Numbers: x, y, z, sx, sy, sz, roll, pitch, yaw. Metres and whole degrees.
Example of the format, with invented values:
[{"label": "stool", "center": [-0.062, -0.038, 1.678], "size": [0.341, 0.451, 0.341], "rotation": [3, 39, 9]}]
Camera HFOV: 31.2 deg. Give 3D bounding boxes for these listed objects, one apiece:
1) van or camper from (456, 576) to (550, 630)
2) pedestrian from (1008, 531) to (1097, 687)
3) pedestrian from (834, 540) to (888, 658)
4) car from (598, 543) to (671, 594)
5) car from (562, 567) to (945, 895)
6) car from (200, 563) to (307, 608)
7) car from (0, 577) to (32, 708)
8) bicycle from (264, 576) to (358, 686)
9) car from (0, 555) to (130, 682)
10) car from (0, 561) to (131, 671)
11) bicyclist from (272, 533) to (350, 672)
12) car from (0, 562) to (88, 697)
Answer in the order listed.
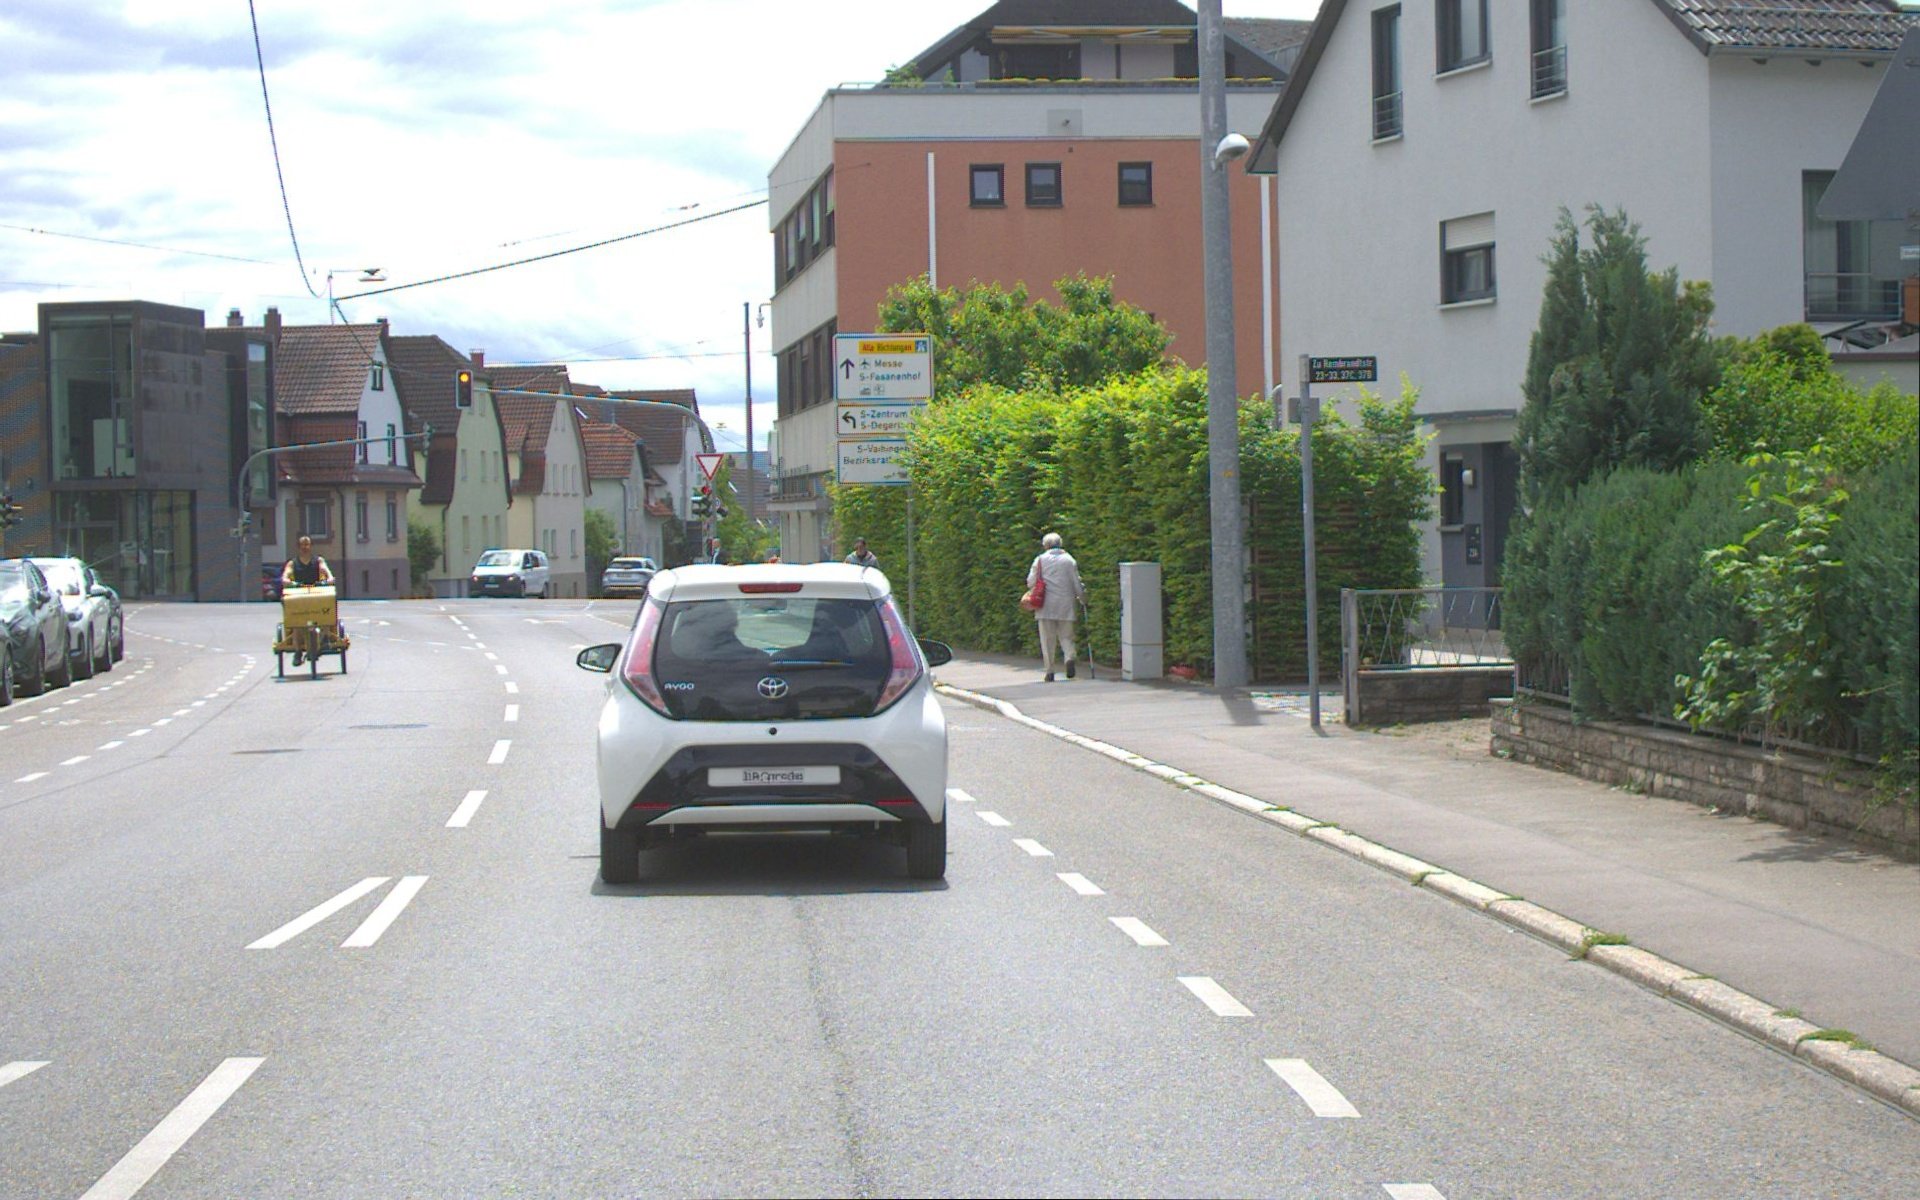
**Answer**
[{"label": "van or camper", "center": [-16.669, 0.097, 125.670], "size": [2.116, 1.919, 5.284], "rotation": [1, 0, 7]}, {"label": "pedestrian", "center": [0.977, 0.092, 36.464], "size": [0.798, 1.612, 0.653], "rotation": [-2, 1, -7]}, {"label": "pedestrian", "center": [-1.378, -0.021, 47.867], "size": [0.602, 1.600, 0.836], "rotation": [-3, 1, -7]}, {"label": "car", "center": [-12.333, -1.184, 130.409], "size": [1.994, 1.897, 3.999], "rotation": [1, 0, 6]}, {"label": "car", "center": [-1.027, 0.578, 17.060], "size": [1.697, 1.451, 3.299], "rotation": [1, 0, -4]}, {"label": "car", "center": [-26.565, -0.550, 129.334], "size": [3.615, 1.600, 1.691], "rotation": [1, 0, 3]}, {"label": "car", "center": [-11.304, 0.485, 36.654], "size": [1.993, 1.403, 4.690], "rotation": [-1, 1, -6]}, {"label": "bicycle", "center": [-8.164, 0.369, 43.363], "size": [0.863, 1.297, 2.662], "rotation": [-1, 1, -4]}, {"label": "car", "center": [-12.710, 0.228, 47.429], "size": [1.993, 1.645, 4.518], "rotation": [-1, 1, -8]}, {"label": "car", "center": [-13.861, 0.213, 52.552], "size": [1.993, 1.582, 4.490], "rotation": [-1, 1, -10]}, {"label": "bicyclist", "center": [-8.181, 0.024, 43.357], "size": [0.792, 1.708, 1.209], "rotation": [-1, 1, -3]}, {"label": "car", "center": [-12.099, 0.329, 42.262], "size": [1.993, 1.558, 4.690], "rotation": [-1, 1, -6]}]
